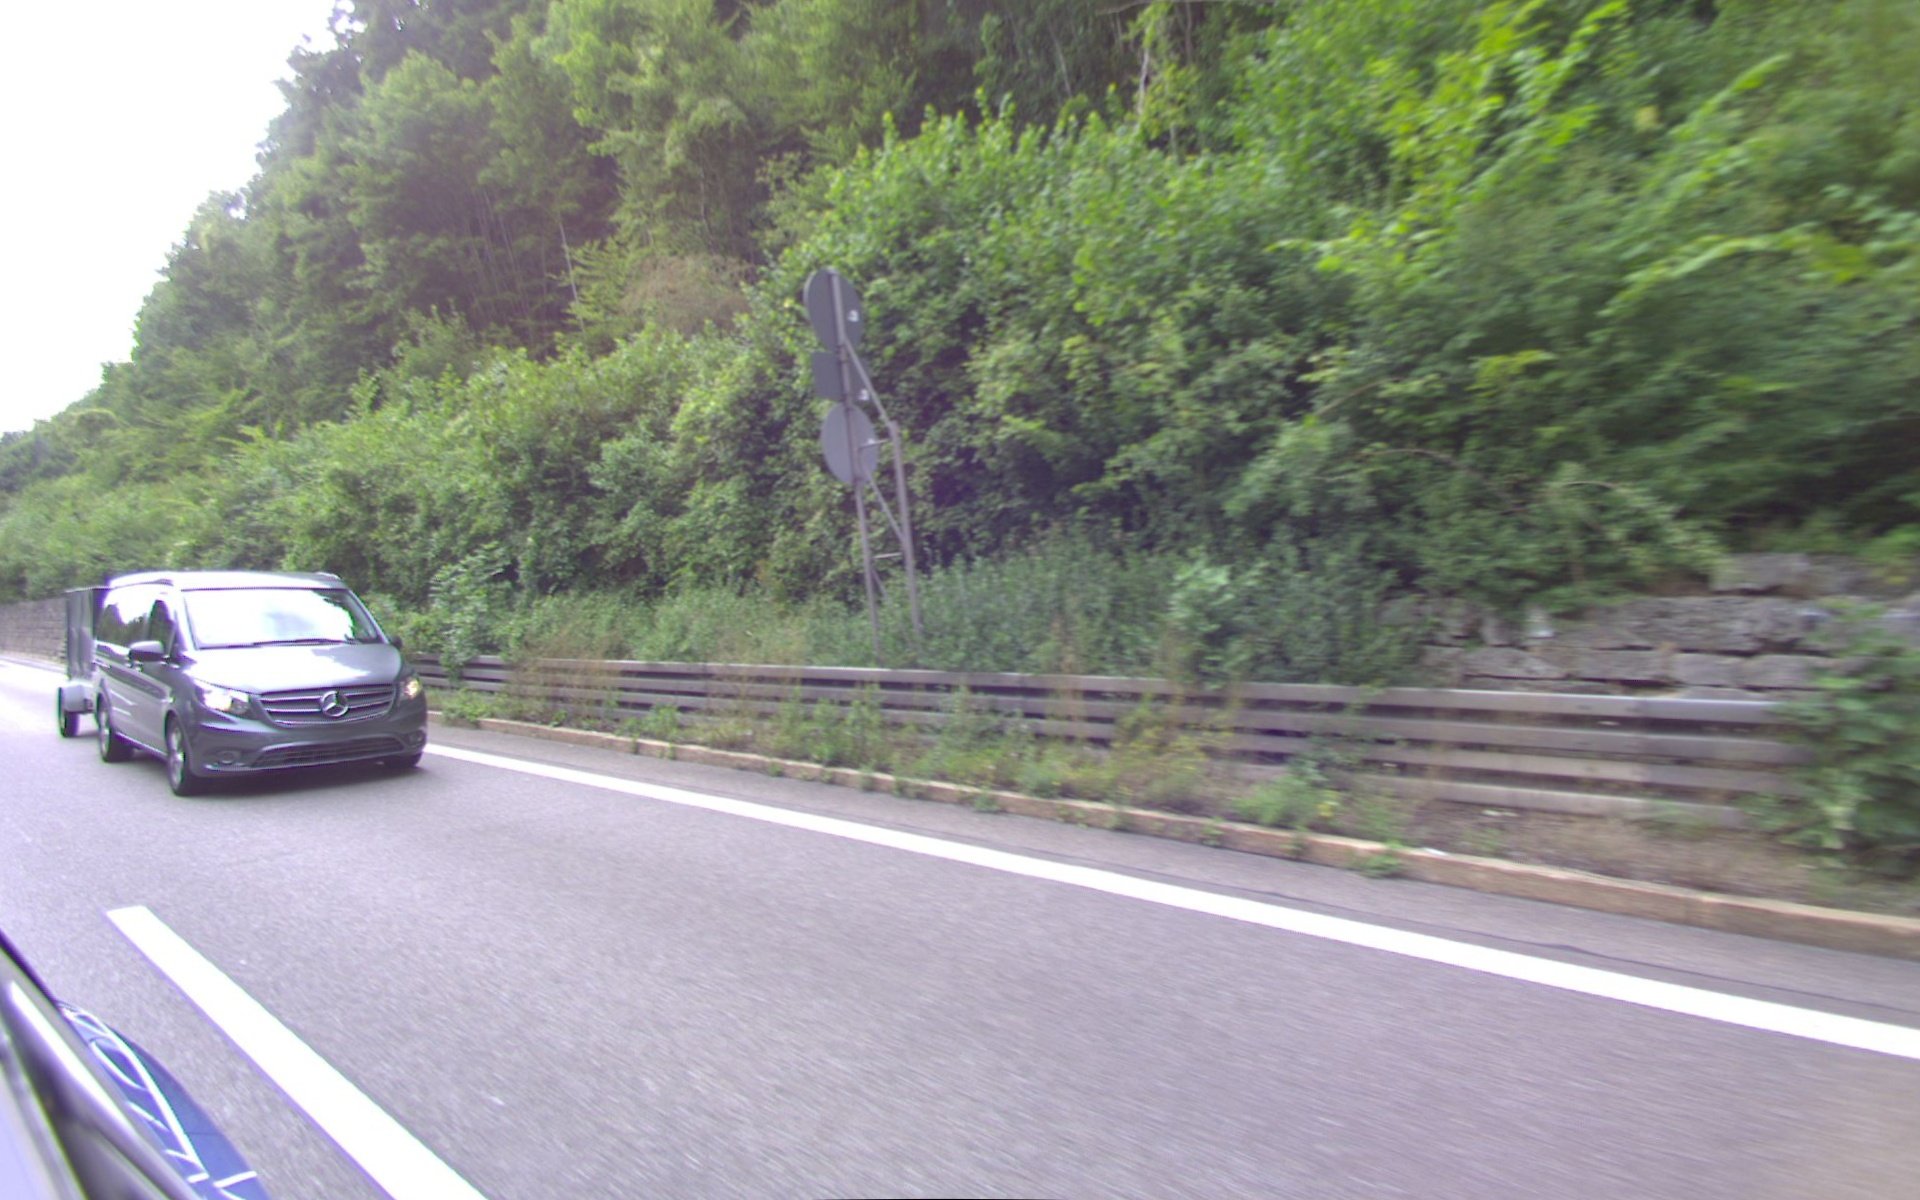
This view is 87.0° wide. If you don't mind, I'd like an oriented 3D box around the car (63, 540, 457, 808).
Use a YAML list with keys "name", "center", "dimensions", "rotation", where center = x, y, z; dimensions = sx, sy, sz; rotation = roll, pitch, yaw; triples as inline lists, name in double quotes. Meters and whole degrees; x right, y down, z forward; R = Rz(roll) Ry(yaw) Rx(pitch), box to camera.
- name: "car"
  center: [-7.292, 0.634, 10.240]
  dimensions: [5.537, 2.029, 1.973]
  rotation: [-2, -1, 41]

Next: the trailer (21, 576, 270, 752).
- name: "trailer"
  center: [-10.638, 0.758, 13.153]
  dimensions: [3.428, 1.954, 1.951]
  rotation: [-2, -1, 41]
